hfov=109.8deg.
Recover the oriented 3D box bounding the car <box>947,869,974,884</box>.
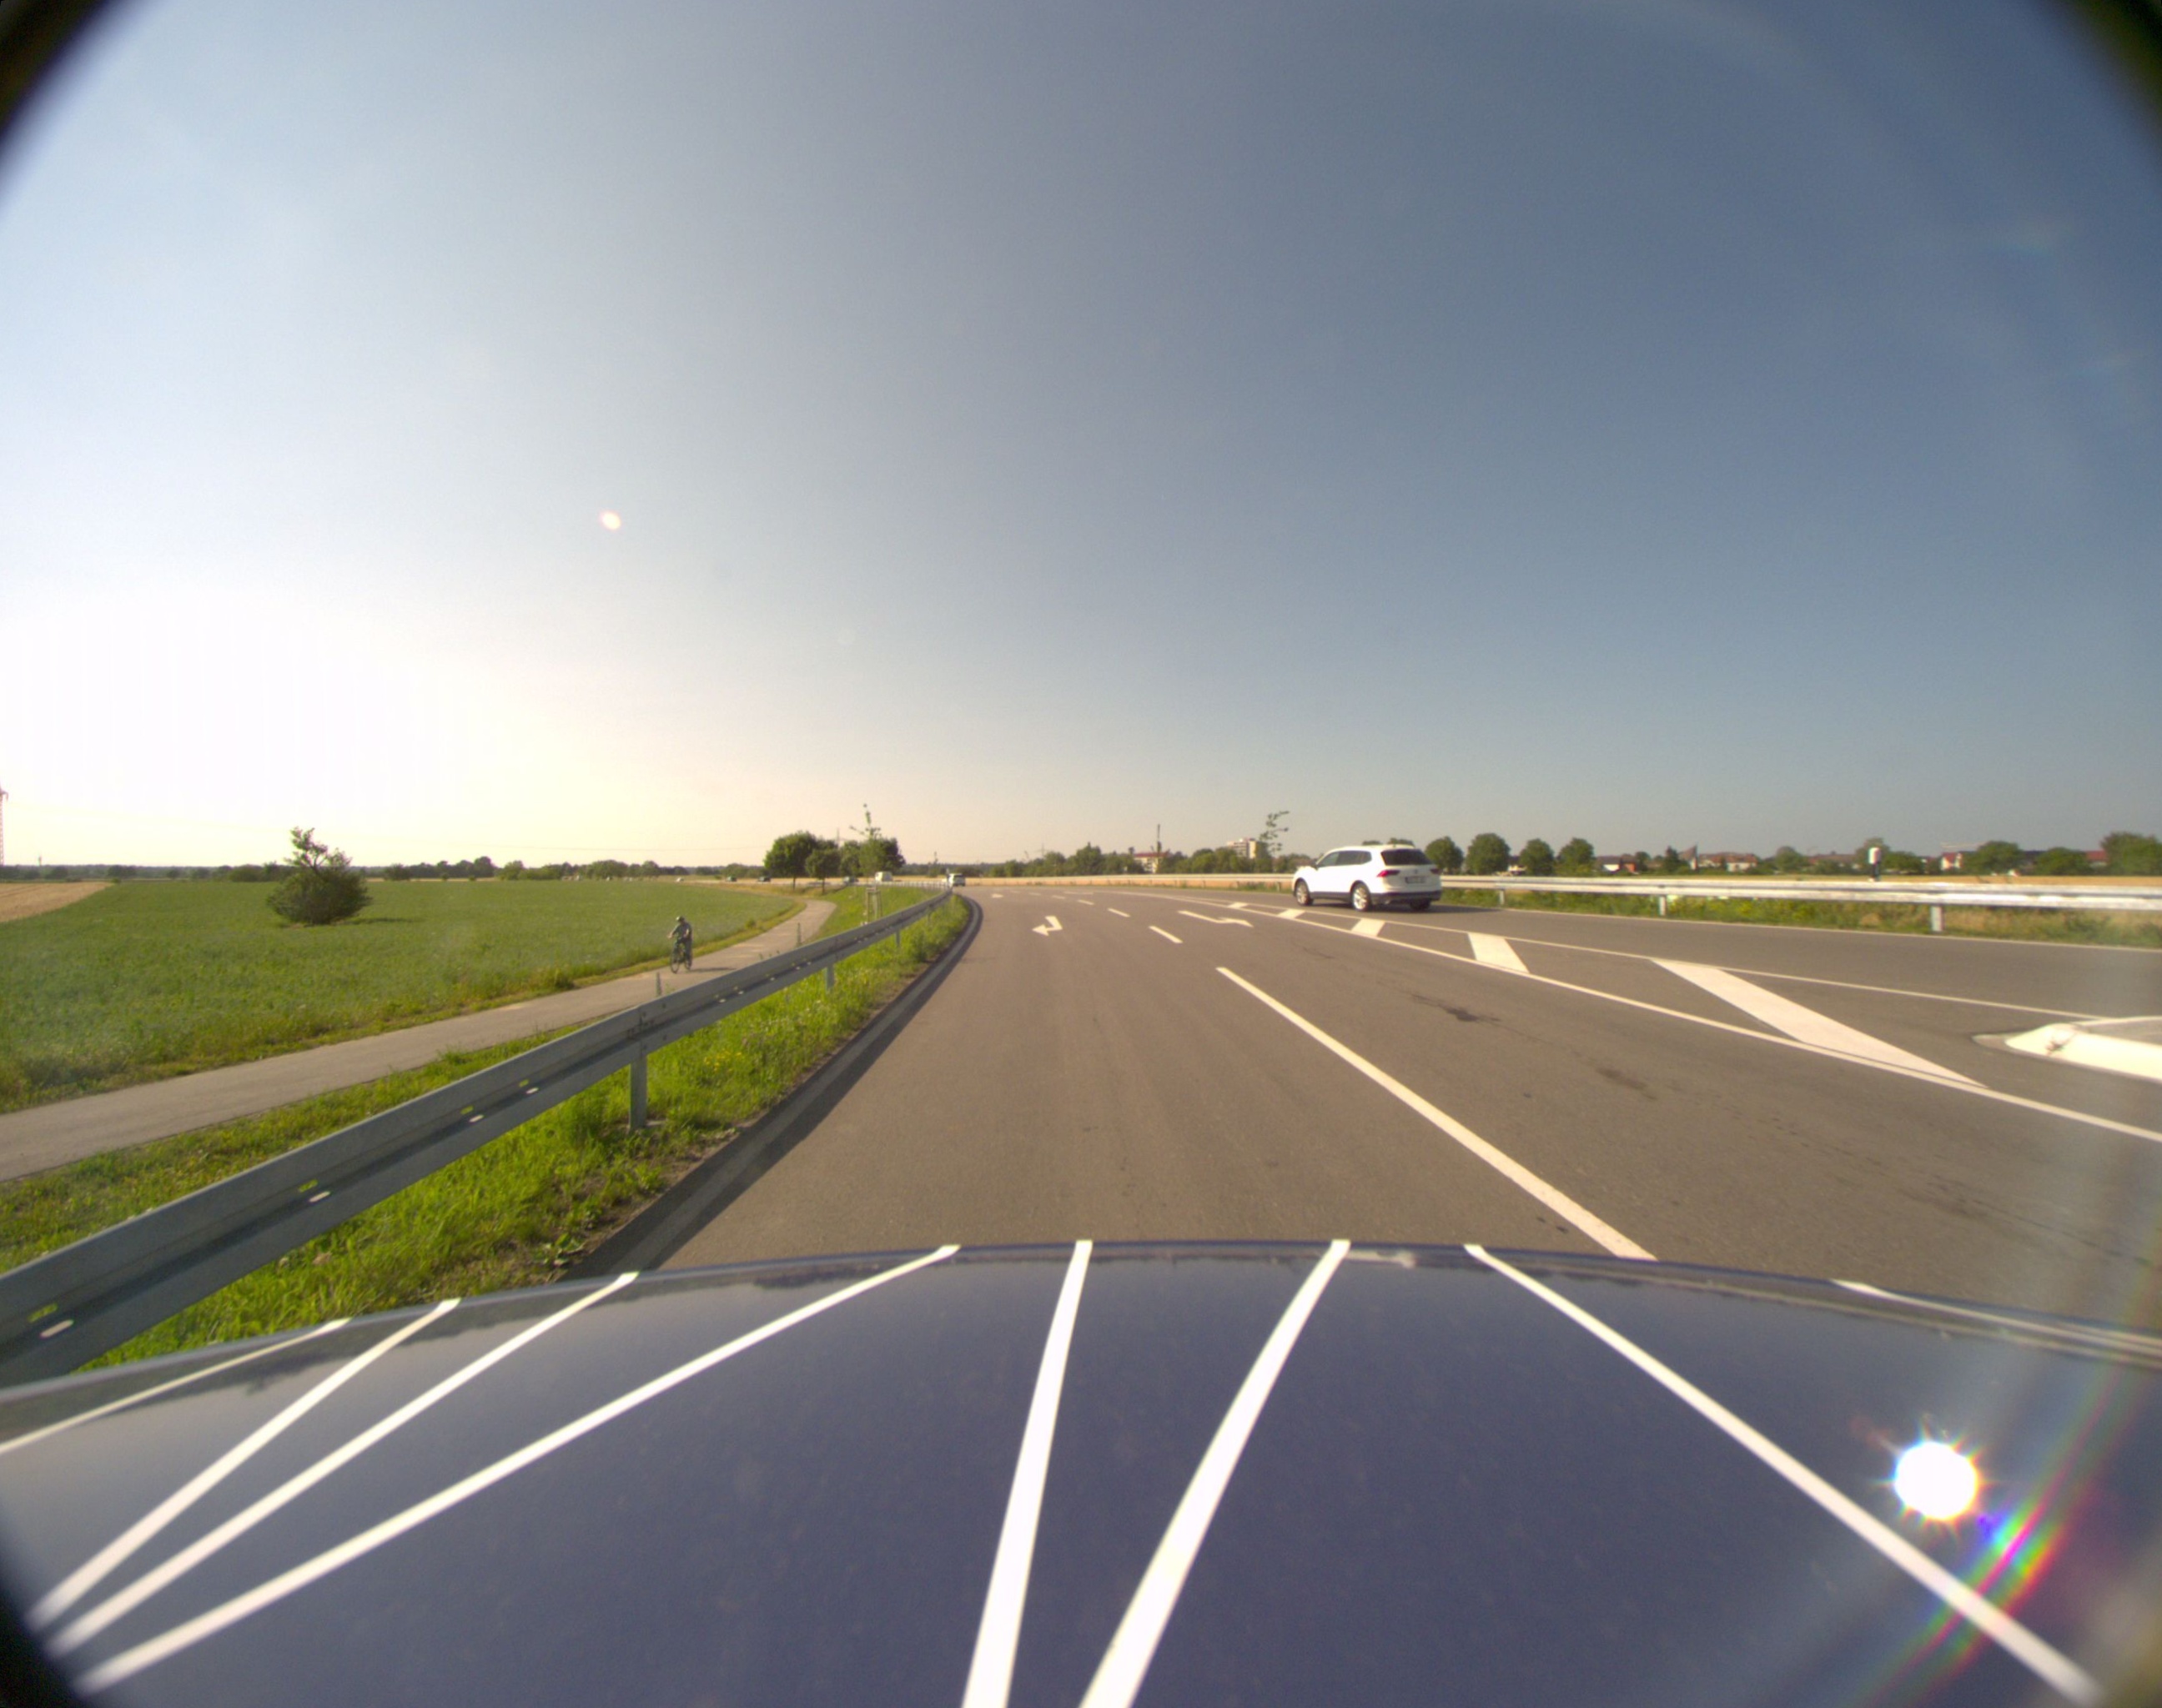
[{"bbox_3d":[-13.870,2.569,86.879,2.123,1.483,5.147,-2,-3,-19],"label":"car"}]

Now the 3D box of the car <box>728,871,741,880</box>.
[{"bbox_3d":[-82.455,5.120,180.684,1.892,1.788,5.078,-3,2,-35],"label":"car"}]

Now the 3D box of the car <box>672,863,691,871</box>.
[{"bbox_3d":[-104.114,3.297,197.979,2.822,2.002,6.086,-3,1,-41],"label":"car"}]

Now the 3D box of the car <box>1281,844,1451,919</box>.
[{"bbox_3d":[7.235,0.595,19.916,1.698,1.664,4.856,-1,1,-14],"label":"car"}]

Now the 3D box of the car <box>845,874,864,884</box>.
[{"bbox_3d":[-37.600,4.181,126.101,1.803,1.439,4.696,-1,-3,-32],"label":"car"}]

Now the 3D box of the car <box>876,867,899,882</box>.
[{"bbox_3d":[-29.607,3.077,115.931,2.125,2.001,5.144,-2,-3,-29],"label":"car"}]

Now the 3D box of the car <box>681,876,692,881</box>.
[{"bbox_3d":[-114.389,7.029,220.374,1.862,1.440,4.143,-2,0,-39],"label":"car"}]

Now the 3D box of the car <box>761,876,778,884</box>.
[{"bbox_3d":[-66.423,5.477,162.033,2.004,1.583,4.851,-1,-2,-41],"label":"car"}]
